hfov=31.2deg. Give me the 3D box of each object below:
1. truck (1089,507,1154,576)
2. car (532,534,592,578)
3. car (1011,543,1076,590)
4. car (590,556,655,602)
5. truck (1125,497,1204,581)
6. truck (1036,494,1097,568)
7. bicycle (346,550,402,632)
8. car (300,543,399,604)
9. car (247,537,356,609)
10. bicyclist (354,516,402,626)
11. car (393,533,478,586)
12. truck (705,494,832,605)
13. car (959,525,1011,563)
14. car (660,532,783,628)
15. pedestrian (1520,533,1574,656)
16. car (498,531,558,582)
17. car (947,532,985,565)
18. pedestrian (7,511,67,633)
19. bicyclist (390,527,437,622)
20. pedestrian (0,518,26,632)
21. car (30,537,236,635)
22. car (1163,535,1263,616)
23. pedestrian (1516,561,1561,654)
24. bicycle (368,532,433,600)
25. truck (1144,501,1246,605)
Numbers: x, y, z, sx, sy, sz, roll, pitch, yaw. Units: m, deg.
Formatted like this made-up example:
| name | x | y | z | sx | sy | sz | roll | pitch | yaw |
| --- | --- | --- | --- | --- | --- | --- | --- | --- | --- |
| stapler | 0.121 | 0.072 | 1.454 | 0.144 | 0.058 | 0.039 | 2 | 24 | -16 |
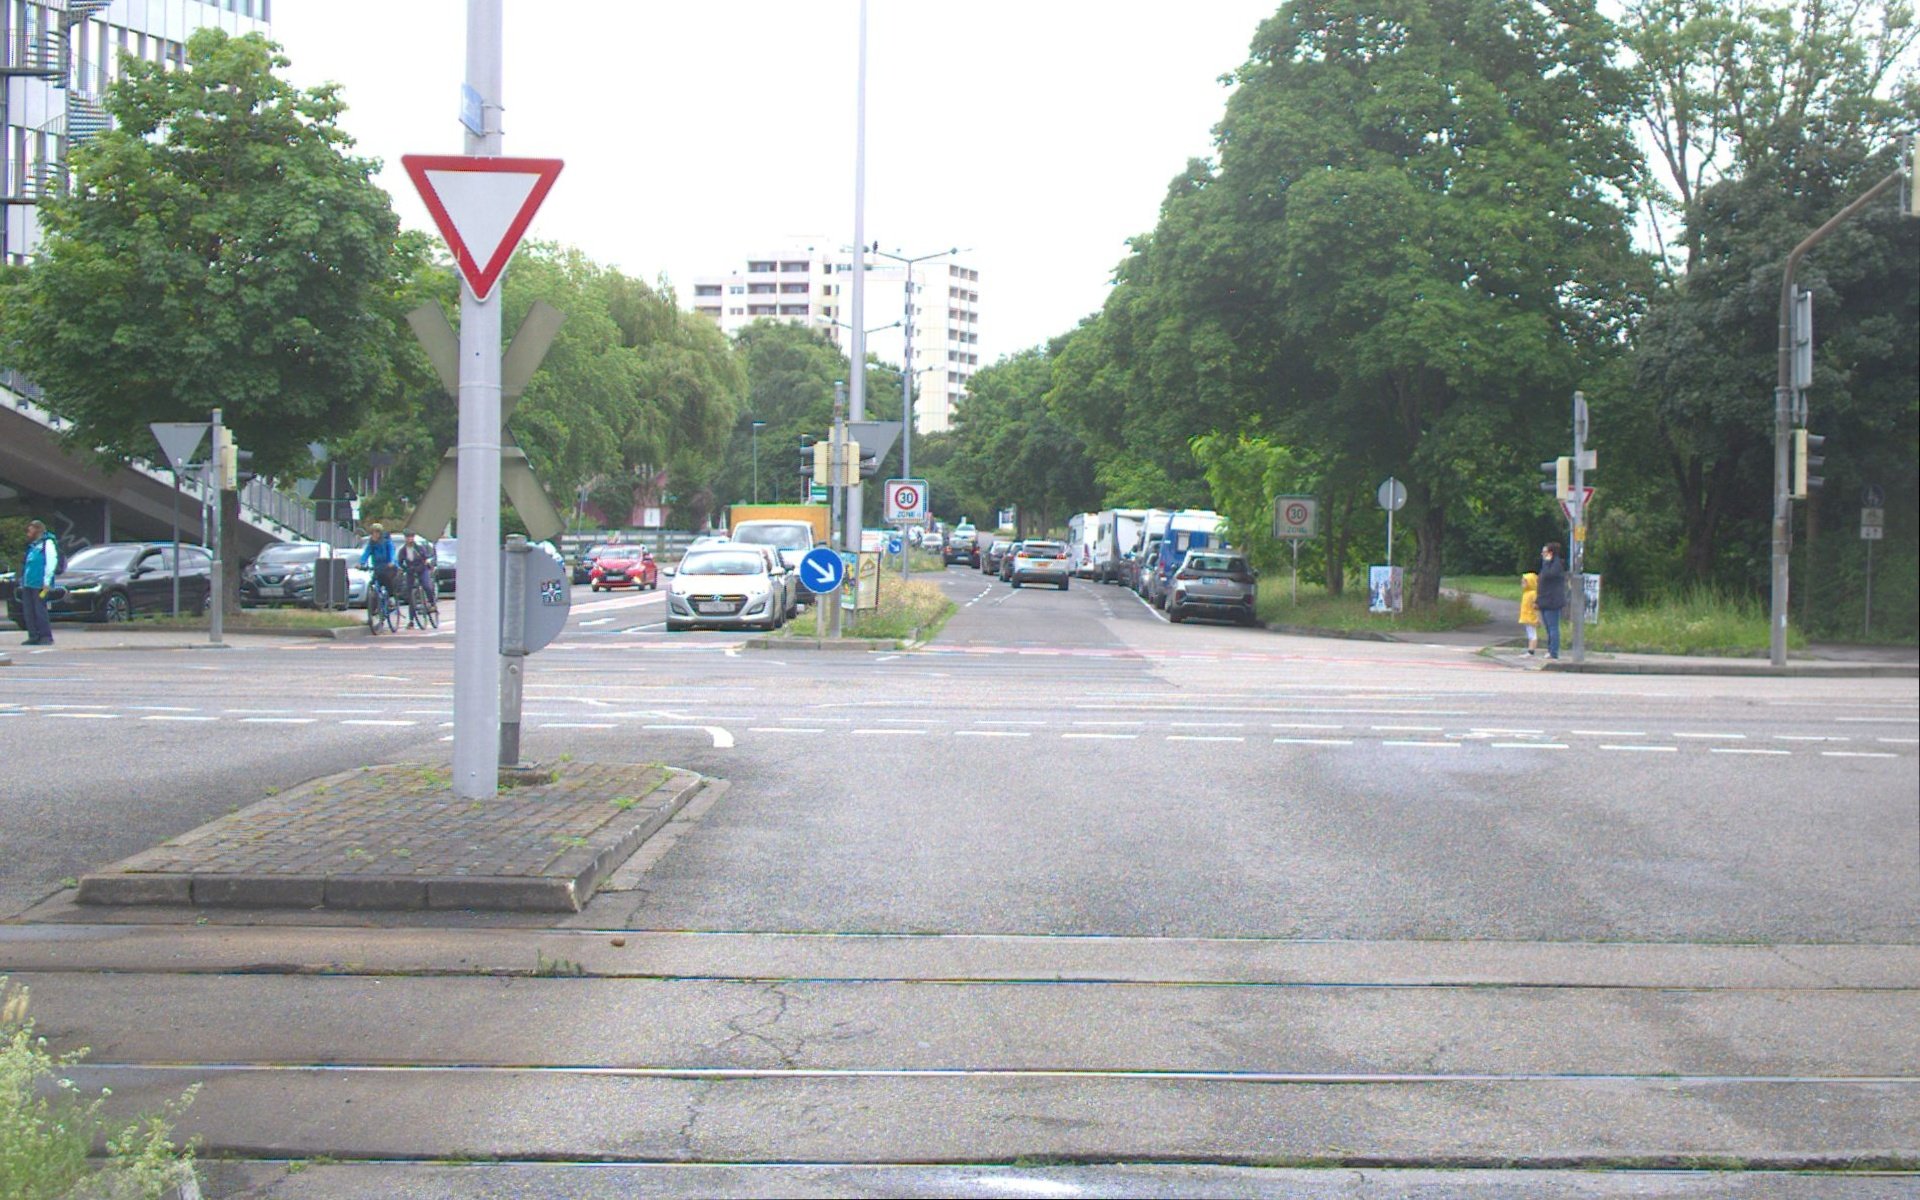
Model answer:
| name | x | y | z | sx | sy | sz | roll | pitch | yaw |
| --- | --- | --- | --- | --- | --- | --- | --- | --- | --- |
| truck | 6.173 | -2.244 | 132.132 | 1.993 | 2.564 | 5.379 | 1 | 1 | -2 |
| car | -14.519 | -1.627 | 125.522 | 1.671 | 1.546 | 4.000 | 1 | 1 | 0 |
| car | 2.777 | -1.145 | 115.185 | 2.020 | 1.500 | 4.000 | 1 | 1 | -1 |
| car | -10.428 | -0.647 | 106.333 | 1.512 | 1.385 | 3.532 | 1 | 1 | 2 |
| truck | 7.110 | -2.118 | 120.059 | 1.993 | 2.828 | 5.732 | 1 | 1 | -4 |
| truck | 4.396 | -2.852 | 142.919 | 1.993 | 2.998 | 5.773 | 1 | 1 | -4 |
| bicycle | -9.380 | -0.150 | 55.053 | 0.543 | 1.263 | 2.111 | 1 | 1 | -1 |
| car | -14.743 | -0.656 | 83.138 | 1.671 | 1.382 | 3.895 | 1 | 1 | 0 |
| car | -14.847 | -0.621 | 77.642 | 1.671 | 1.546 | 3.892 | 1 | 1 | 0 |
| bicyclist | -9.415 | -0.476 | 55.654 | 0.644 | 1.762 | 0.647 | 1 | 1 | -1 |
| car | -14.491 | -1.143 | 95.154 | 1.763 | 1.390 | 4.000 | 1 | 1 | -1 |
| truck | -3.956 | -1.077 | 71.880 | 2.155 | 2.191 | 5.840 | 1 | 1 | 1 |
| car | 1.020 | -2.302 | 141.615 | 2.020 | 1.500 | 4.000 | 1 | 1 | -1 |
| car | -3.982 | -0.362 | 57.936 | 1.789 | 1.514 | 4.326 | 1 | 1 | -1 |
| pedestrian | 8.401 | -0.088 | 49.218 | 0.657 | 1.744 | 0.459 | 1 | 1 | -1 |
| car | -13.472 | -1.373 | 107.378 | 1.444 | 1.546 | 3.664 | 1 | 1 | -1 |
| car | 0.280 | -2.442 | 162.869 | 1.554 | 1.500 | 4.001 | 1 | 1 | -3 |
| pedestrian | -12.296 | -0.375 | 45.802 | 0.687 | 1.599 | 0.488 | 1 | 1 | -5 |
| bicyclist | -9.288 | -0.439 | 58.418 | 0.679 | 1.589 | 0.695 | 1 | 0 | -1 |
| pedestrian | -12.959 | -0.342 | 45.845 | 0.917 | 1.505 | 0.404 | 1 | 1 | -11 |
| car | -13.740 | -0.260 | 57.343 | 1.672 | 1.546 | 3.998 | 1 | 1 | 14 |
| car | 5.405 | -0.542 | 73.925 | 1.784 | 1.656 | 4.000 | 1 | 1 | -1 |
| pedestrian | 8.396 | 0.104 | 49.902 | 0.527 | 1.337 | 0.525 | 1 | 1 | -1 |
| bicycle | -9.369 | -0.579 | 57.603 | 0.726 | 1.097 | 2.264 | 1 | 1 | -1 |
| truck | 6.160 | -1.236 | 90.717 | 2.174 | 2.647 | 6.247 | 0 | 1 | -1 |
